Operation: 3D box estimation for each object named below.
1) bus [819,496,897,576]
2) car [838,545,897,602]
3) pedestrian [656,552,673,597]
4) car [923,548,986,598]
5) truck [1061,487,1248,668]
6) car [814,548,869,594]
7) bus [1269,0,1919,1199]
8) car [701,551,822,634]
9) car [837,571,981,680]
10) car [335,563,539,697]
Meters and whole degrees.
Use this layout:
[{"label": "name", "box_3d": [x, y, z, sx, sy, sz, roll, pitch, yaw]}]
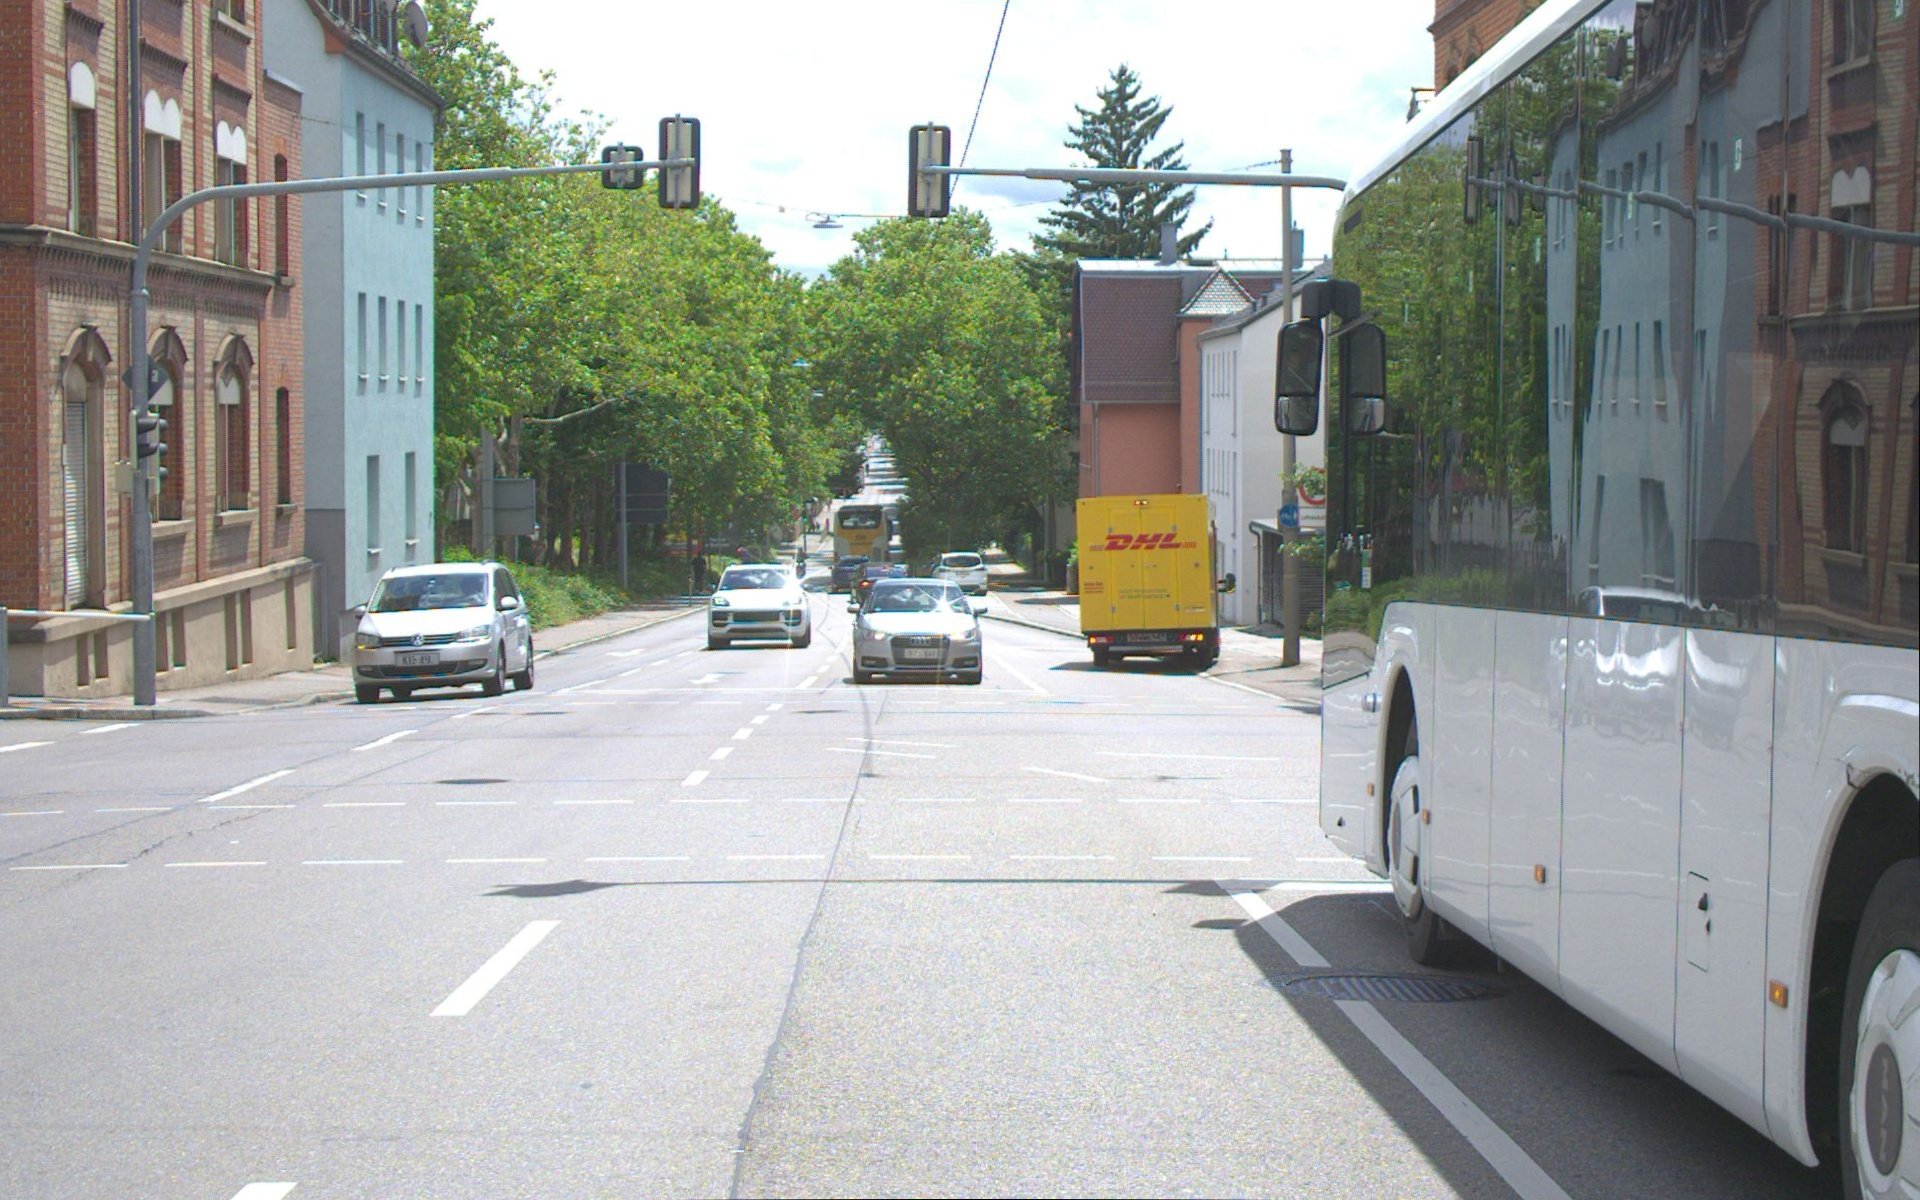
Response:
[{"label": "bus", "box_3d": [-4.916, -3.024, 163.783, 3.300, 3.618, 11.246, -1, 1, -3]}, {"label": "car", "box_3d": [-2.953, -0.862, 110.097, 1.819, 1.778, 4.000, -1, 1, -1]}, {"label": "pedestrian", "box_3d": [-11.742, -1.018, 136.707, 0.606, 1.752, 0.654, -1, 1, -2]}, {"label": "car", "box_3d": [-0.226, -1.039, 129.543, 2.091, 1.824, 4.143, 0, 1, -4]}, {"label": "truck", "box_3d": [3.437, -0.394, 59.236, 2.542, 2.903, 6.570, 1, 1, 9]}, {"label": "car", "box_3d": [-4.746, -1.177, 137.142, 2.091, 1.824, 4.143, 0, 1, -4]}, {"label": "bus", "box_3d": [2.947, -0.323, 9.303, 2.904, 3.498, 12.488, 1, 1, -1]}, {"label": "car", "box_3d": [-3.966, -0.177, 69.354, 2.207, 1.607, 4.547, -1, 1, -1]}, {"label": "car", "box_3d": [-0.694, 0.314, 47.032, 1.865, 1.363, 4.547, -1, 1, -1]}, {"label": "car", "box_3d": [-6.526, 0.333, 43.329, 1.935, 1.558, 4.389, -1, 1, -1]}]
